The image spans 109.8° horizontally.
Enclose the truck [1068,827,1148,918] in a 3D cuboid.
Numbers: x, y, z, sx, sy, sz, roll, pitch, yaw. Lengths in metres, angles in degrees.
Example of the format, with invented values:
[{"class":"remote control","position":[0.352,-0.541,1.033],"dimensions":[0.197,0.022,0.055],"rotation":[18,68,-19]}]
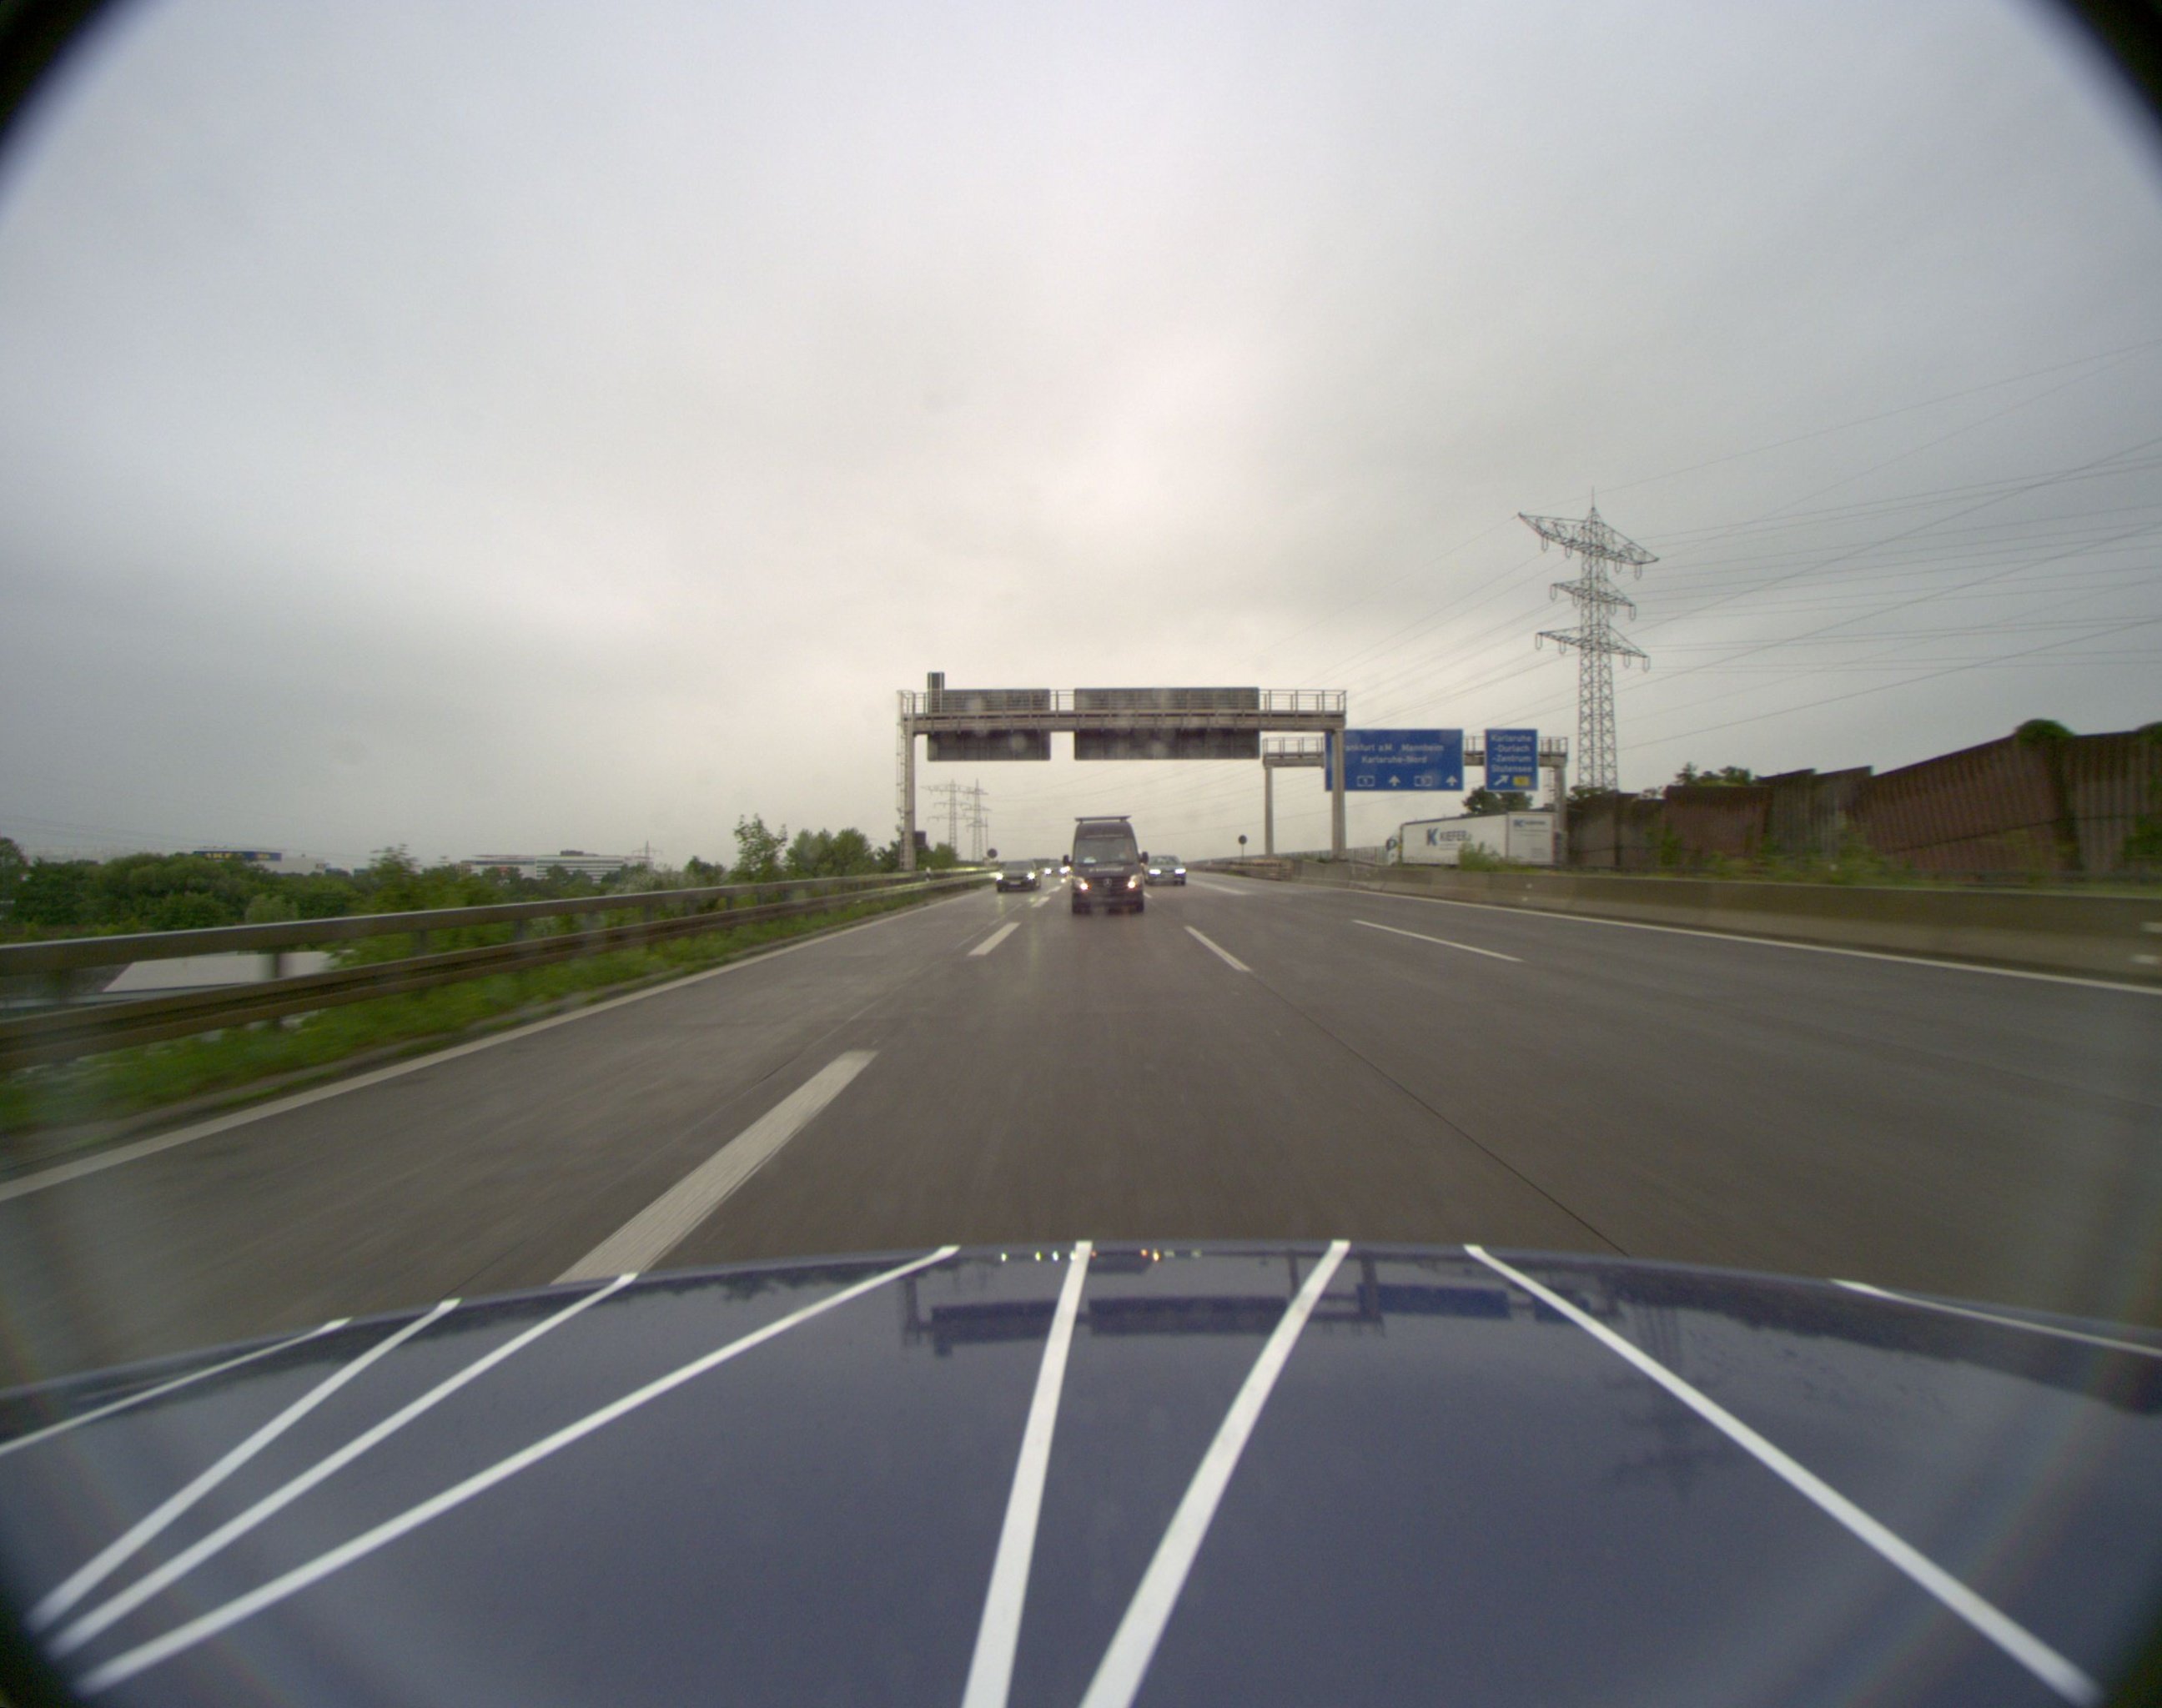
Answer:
[{"class":"truck","position":[0.640,0.458,22.696],"dimensions":[1.999,2.324,6.110],"rotation":[-1,0,-1]}]

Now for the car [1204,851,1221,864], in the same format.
[{"class":"car","position":[20.804,0.492,120.470],"dimensions":[1.998,1.920,4.171],"rotation":[-3,0,0]}]

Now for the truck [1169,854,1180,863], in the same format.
[{"class":"truck","position":[22.159,1.096,180.236],"dimensions":[1.999,1.919,5.250],"rotation":[-1,-1,0]}]

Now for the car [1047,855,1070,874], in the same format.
[{"class":"car","position":[-2.077,0.970,70.366],"dimensions":[1.998,1.706,4.000],"rotation":[0,0,0]}]

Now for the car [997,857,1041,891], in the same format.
[{"class":"car","position":[-3.026,0.956,37.905],"dimensions":[1.862,1.531,4.203],"rotation":[-2,-1,0]}]

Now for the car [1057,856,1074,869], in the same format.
[{"class":"car","position":[-1.987,1.085,98.919],"dimensions":[1.998,1.706,4.000],"rotation":[0,0,0]}]

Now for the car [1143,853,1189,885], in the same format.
[{"class":"car","position":[4.493,0.750,40.810],"dimensions":[1.843,1.585,5.155],"rotation":[-2,0,0]}]

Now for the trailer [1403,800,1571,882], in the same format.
[{"class":"trailer","position":[24.250,-0.701,46.796],"dimensions":[3.064,4.162,13.570],"rotation":[-3,0,0]}]

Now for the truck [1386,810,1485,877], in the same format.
[{"class":"truck","position":[24.296,-0.706,52.637],"dimensions":[3.064,4.162,7.887],"rotation":[-3,0,0]}]

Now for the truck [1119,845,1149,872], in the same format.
[{"class":"truck","position":[5.143,0.439,74.253],"dimensions":[2.243,2.464,6.582],"rotation":[-3,0,-1]}]
